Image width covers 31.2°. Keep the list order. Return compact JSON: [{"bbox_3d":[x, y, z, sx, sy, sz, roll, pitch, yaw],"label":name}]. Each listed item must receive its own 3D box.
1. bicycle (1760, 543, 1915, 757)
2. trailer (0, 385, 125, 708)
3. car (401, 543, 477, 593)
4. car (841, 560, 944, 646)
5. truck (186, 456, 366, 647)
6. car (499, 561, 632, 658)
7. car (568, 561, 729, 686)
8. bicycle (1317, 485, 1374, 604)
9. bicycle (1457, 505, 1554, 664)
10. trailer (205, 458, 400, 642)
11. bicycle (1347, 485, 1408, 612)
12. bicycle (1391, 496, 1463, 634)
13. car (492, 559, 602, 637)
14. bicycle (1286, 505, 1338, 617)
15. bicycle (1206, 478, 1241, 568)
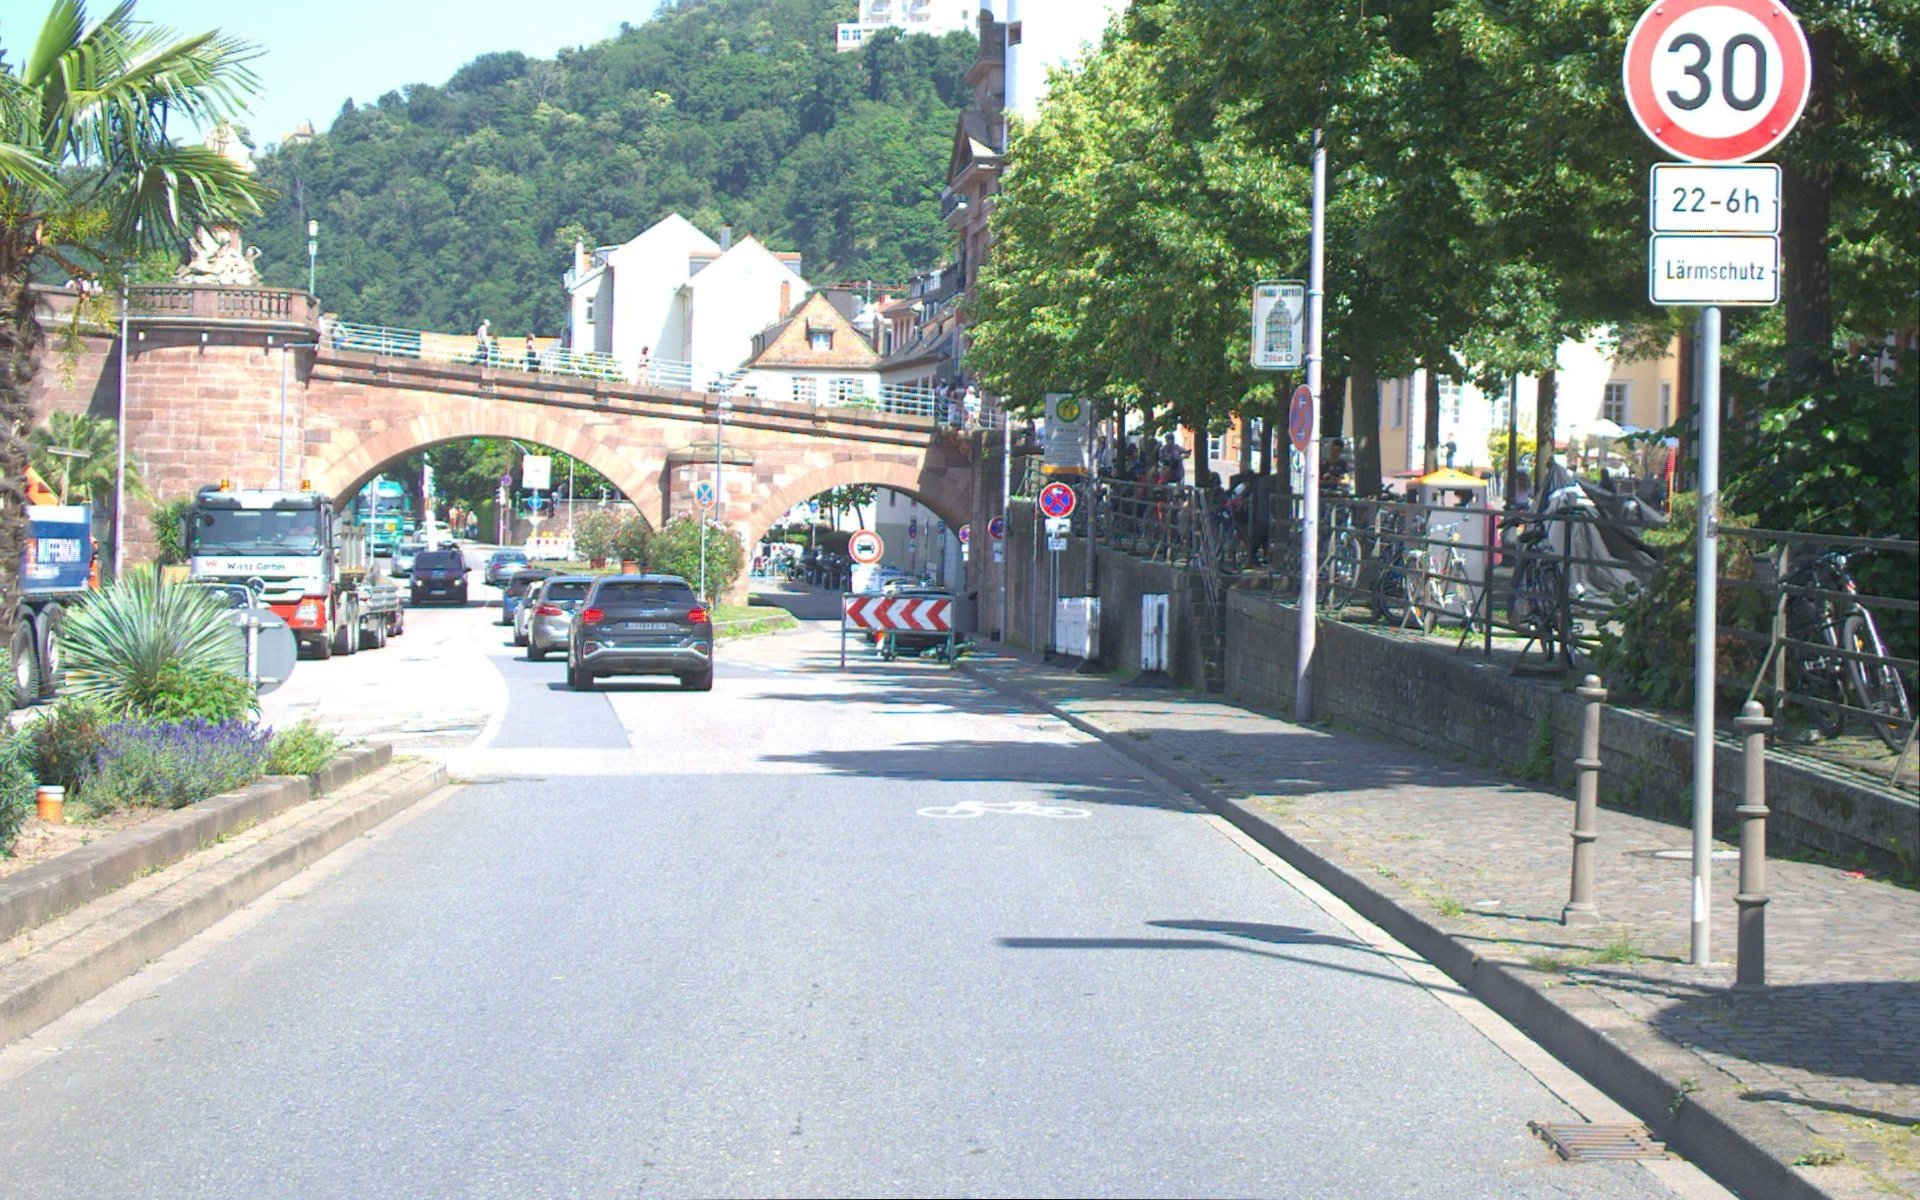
[{"bbox_3d":[4.358,0.226,17.141,0.250,0.997,1.489,3,1,-3],"label":"bicycle"},{"bbox_3d":[-11.434,-0.626,37.528,2.657,3.391,8.828,1,1,-2],"label":"trailer"},{"bbox_3d":[-18.065,-1.123,119.376,1.993,1.548,4.833,1,2,-2],"label":"car"},{"bbox_3d":[-1.331,0.036,69.627,1.720,1.590,3.894,1,1,4],"label":"car"},{"bbox_3d":[-12.806,-0.947,64.750,2.657,3.391,5.136,1,1,-4],"label":"truck"},{"bbox_3d":[-7.146,0.137,62.673,1.993,1.548,4.833,1,2,-2],"label":"car"},{"bbox_3d":[-4.096,0.270,45.837,1.926,1.548,4.832,0,1,-3],"label":"car"},{"bbox_3d":[3.653,-0.529,32.634,0.250,1.092,1.489,3,1,-2],"label":"bicycle"},{"bbox_3d":[3.915,-0.127,24.740,0.345,1.092,1.489,3,1,-2],"label":"bicycle"},{"bbox_3d":[-13.170,-1.079,69.592,2.657,3.391,10.170,1,1,-4],"label":"trailer"},{"bbox_3d":[3.723,-0.467,30.708,0.250,1.092,1.489,3,1,-2],"label":"bicycle"},{"bbox_3d":[3.836,-0.298,28.308,0.275,1.092,1.489,-3,1,-2],"label":"bicycle"},{"bbox_3d":[-9.190,-0.073,76.860,1.993,1.548,4.833,1,2,-2],"label":"car"},{"bbox_3d":[3.549,-0.404,34.725,0.250,1.092,1.489,3,1,-2],"label":"bicycle"},{"bbox_3d":[3.315,-0.963,43.335,0.356,1.092,1.488,3,1,4],"label":"bicycle"}]
